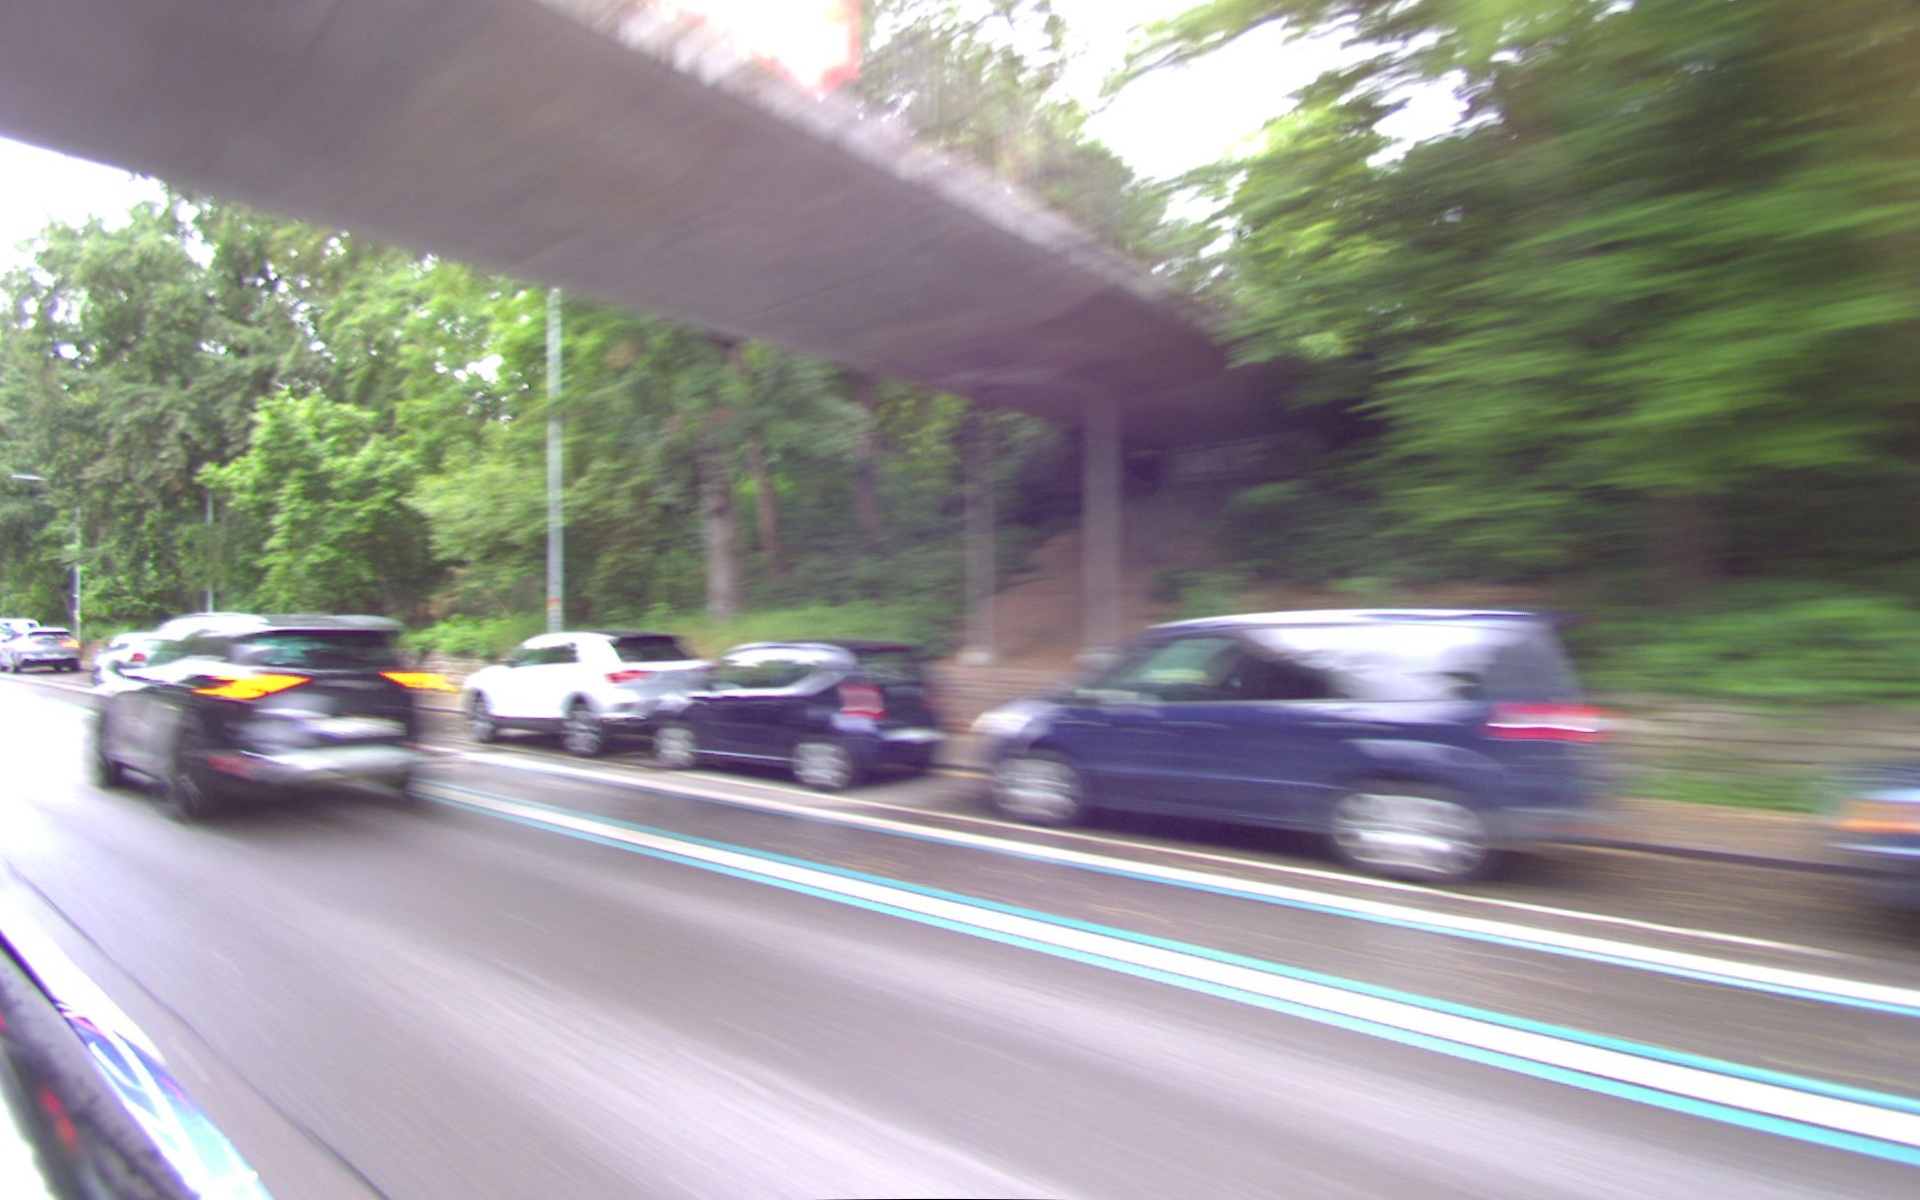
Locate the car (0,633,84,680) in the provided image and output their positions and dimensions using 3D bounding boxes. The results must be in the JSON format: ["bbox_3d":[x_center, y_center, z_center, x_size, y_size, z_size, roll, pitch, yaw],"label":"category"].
[{"bbox_3d":[-34.496,2.084,37.685,4.773,1.618,1.991,-2,-2,38],"label":"car"}]

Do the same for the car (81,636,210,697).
[{"bbox_3d":[-21.716,1.725,26.957,3.976,1.493,1.772,-2,-3,37],"label":"car"}]

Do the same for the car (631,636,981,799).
[{"bbox_3d":[-1.777,1.145,10.976,3.839,1.450,1.594,-2,-3,39],"label":"car"}]

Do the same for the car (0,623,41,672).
[{"bbox_3d":[-41.510,2.041,43.491,5.006,2.020,1.957,-2,-1,35],"label":"car"}]

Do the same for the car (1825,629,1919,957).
[{"bbox_3d":[6.843,0.858,4.130,4.891,1.484,1.964,-2,-1,38],"label":"car"}]

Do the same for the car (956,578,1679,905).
[{"bbox_3d":[2.465,0.851,7.739,4.831,1.755,1.971,-2,-2,38],"label":"car"}]

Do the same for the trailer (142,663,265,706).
[{"bbox_3d":[-17.925,1.962,23.950,3.300,0.825,1.528,-2,-2,38],"label":"trailer"}]

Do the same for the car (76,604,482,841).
[{"bbox_3d":[-6.300,0.928,9.180,4.317,1.640,1.946,-2,-3,40],"label":"car"}]

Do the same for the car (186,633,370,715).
[{"bbox_3d":[-13.712,1.427,20.297,4.032,1.488,1.814,-2,-2,36],"label":"car"}]

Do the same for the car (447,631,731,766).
[{"bbox_3d":[-5.126,1.227,13.731,4.227,1.558,1.671,-2,-2,38],"label":"car"}]
